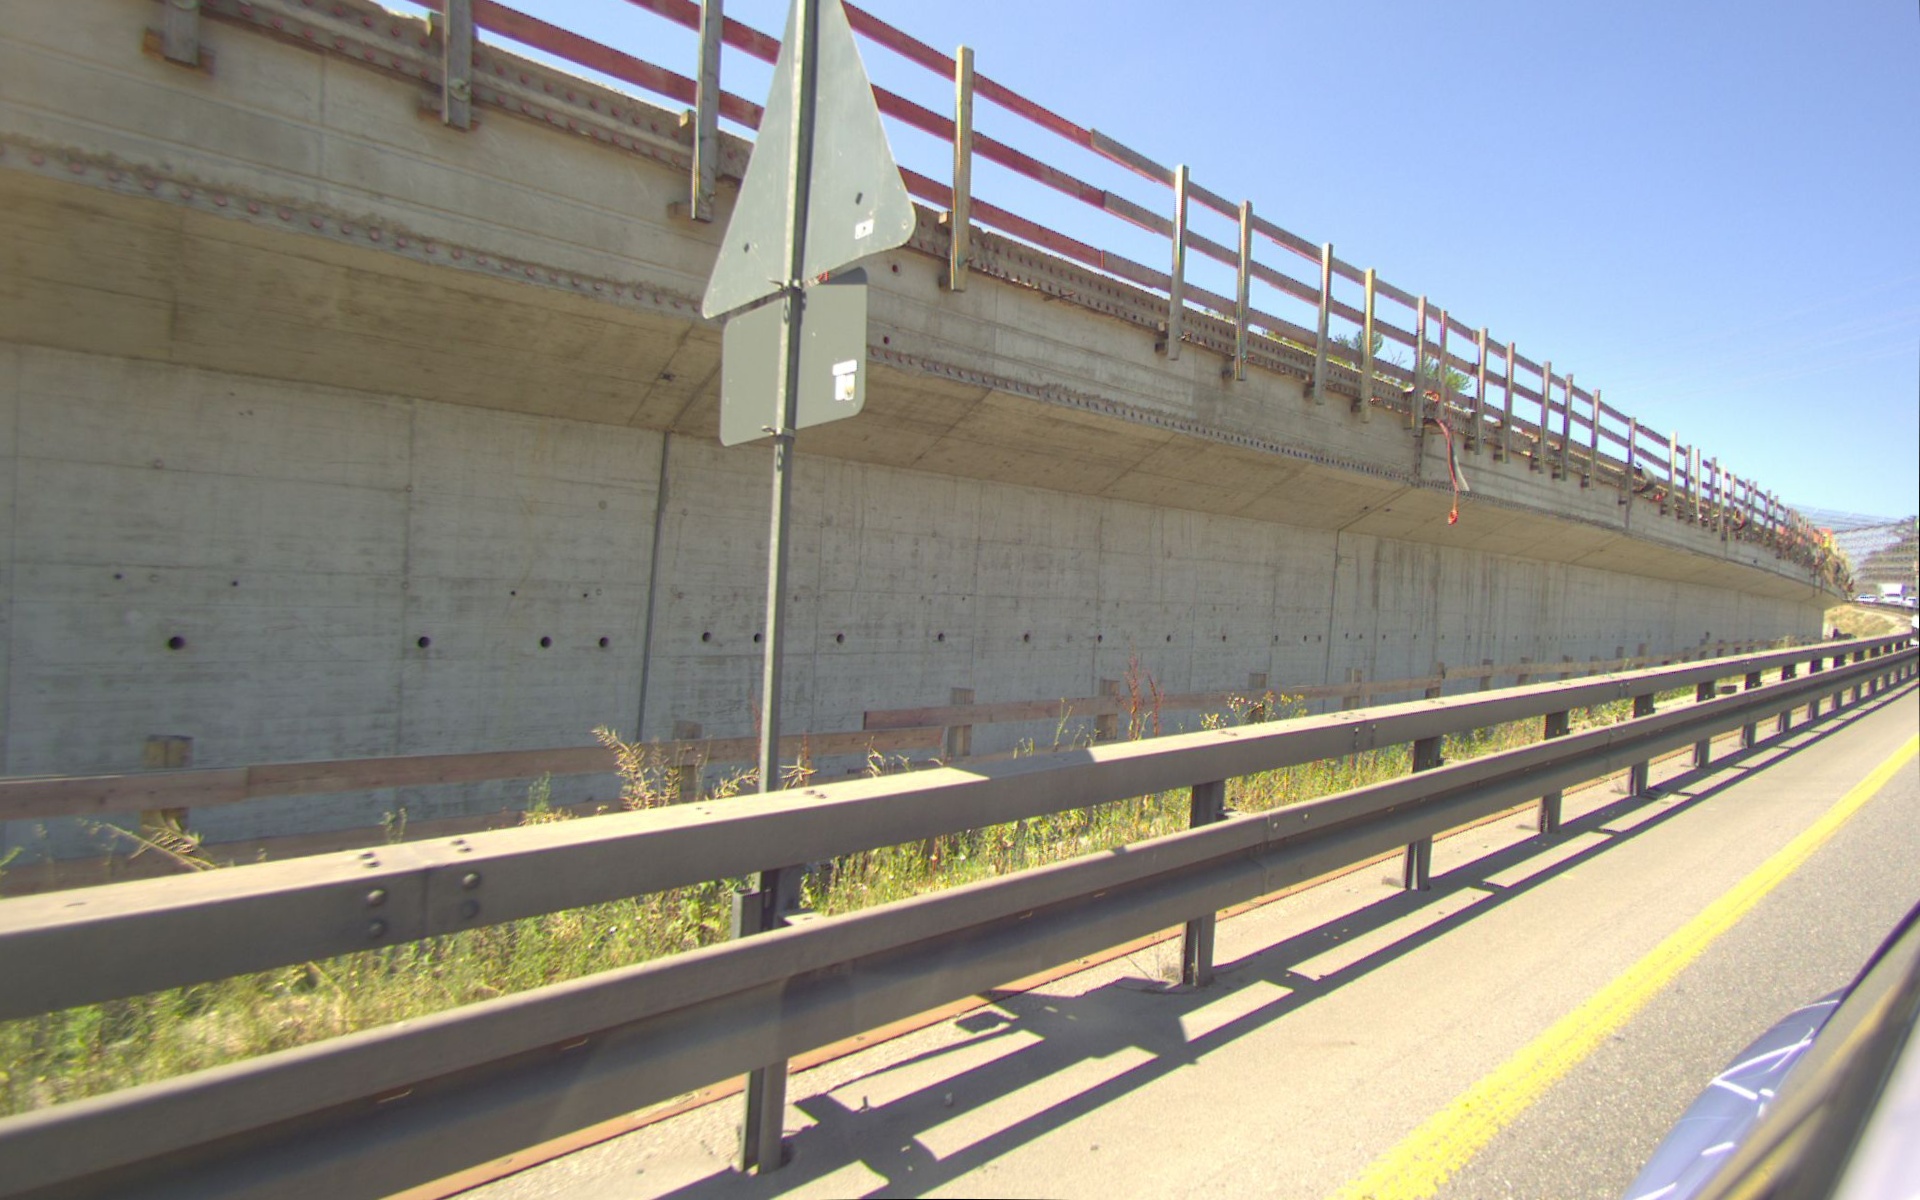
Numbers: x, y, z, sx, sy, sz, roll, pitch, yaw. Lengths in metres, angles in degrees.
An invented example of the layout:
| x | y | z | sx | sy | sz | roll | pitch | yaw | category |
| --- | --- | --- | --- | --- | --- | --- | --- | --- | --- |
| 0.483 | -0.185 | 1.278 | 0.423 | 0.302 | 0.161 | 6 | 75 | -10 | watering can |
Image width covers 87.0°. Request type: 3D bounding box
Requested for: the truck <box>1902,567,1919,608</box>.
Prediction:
| x | y | z | sx | sy | sz | roll | pitch | yaw | category |
| --- | --- | --- | --- | --- | --- | --- | --- | --- | --- |
| 102.005 | -1.373 | 106.505 | 2.893 | 4.284 | 9.127 | 1 | 2 | 35 | truck |
